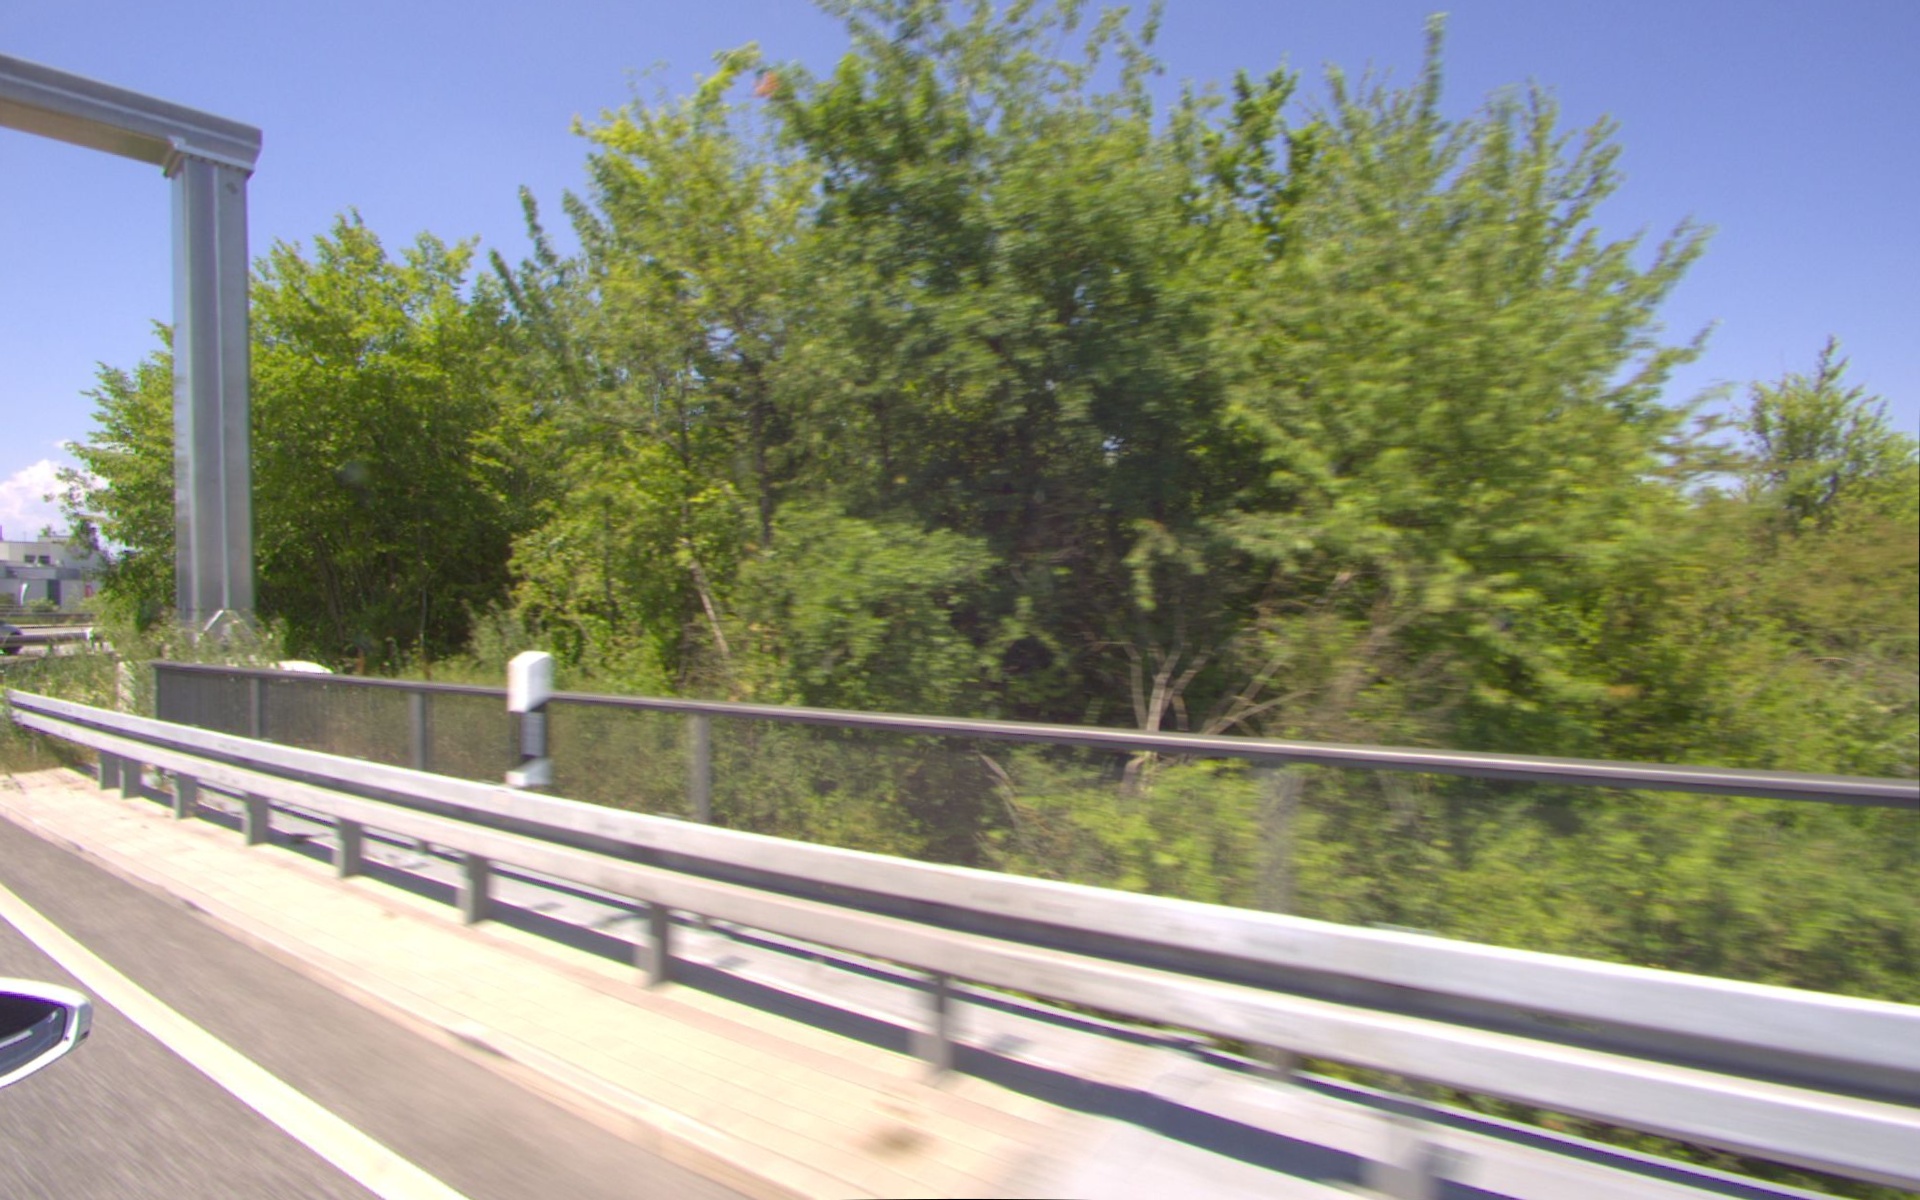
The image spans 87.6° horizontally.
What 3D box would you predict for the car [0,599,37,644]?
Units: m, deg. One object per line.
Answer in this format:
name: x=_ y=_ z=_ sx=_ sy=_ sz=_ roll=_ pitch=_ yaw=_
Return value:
car: x=-33.730 y=0.746 z=33.798 sx=1.964 sy=1.525 sz=4.389 roll=-1 pitch=0 yaw=-15
